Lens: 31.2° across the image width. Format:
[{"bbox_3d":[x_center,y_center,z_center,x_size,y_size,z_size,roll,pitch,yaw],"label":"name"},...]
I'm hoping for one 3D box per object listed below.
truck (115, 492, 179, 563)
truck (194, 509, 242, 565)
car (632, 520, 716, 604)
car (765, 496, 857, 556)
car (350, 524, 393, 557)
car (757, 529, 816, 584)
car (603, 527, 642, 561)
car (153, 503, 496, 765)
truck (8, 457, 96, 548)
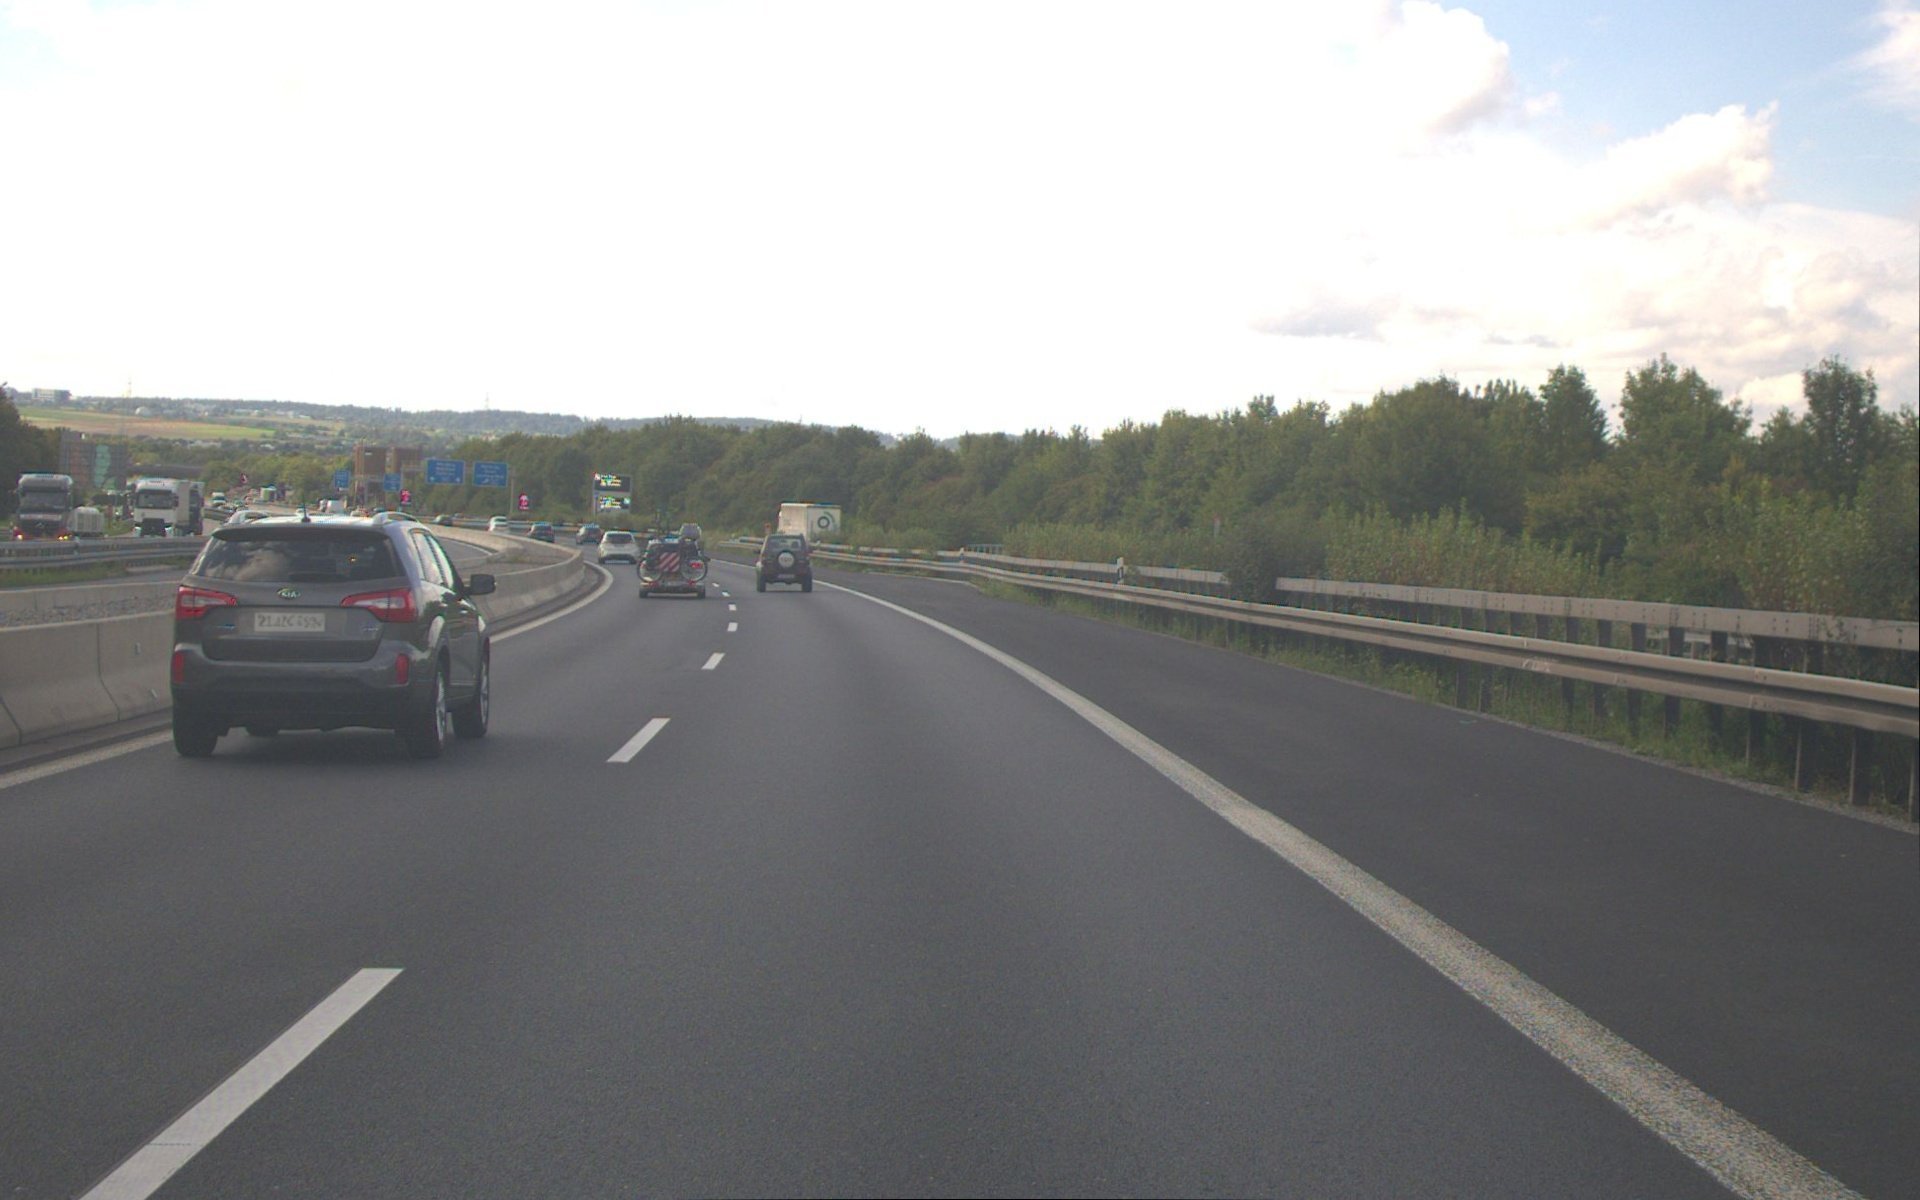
[{"bbox_3d":[-51.261,-4.559,216.914,3.320,4.278,6.750,1,0,-9],"label":"truck"},{"bbox_3d":[-54.857,-4.613,254.395,2.901,3.955,10.467,1,0,-9],"label":"truck"},{"bbox_3d":[-7.623,-1.036,92.000,2.030,2.144,4.001,1,1,-2],"label":"car"},{"bbox_3d":[-11.431,-5.581,262.402,4.727,4.251,11.407,1,0,-15],"label":"car"},{"bbox_3d":[-29.656,-2.984,173.312,1.712,1.522,4.767,1,0,-5],"label":"car"},{"bbox_3d":[-5.243,-1.329,103.483,1.587,1.591,4.096,1,1,-5],"label":"car"},{"bbox_3d":[-17.775,-2.929,180.765,1.993,1.678,4.001,1,0,-6],"label":"car"},{"bbox_3d":[-4.617,0.197,25.686,1.817,1.730,5.187,1,1,-3],"label":"car"},{"bbox_3d":[-39.929,-4.267,151.346,2.809,3.813,7.131,1,1,-8],"label":"truck"}]
